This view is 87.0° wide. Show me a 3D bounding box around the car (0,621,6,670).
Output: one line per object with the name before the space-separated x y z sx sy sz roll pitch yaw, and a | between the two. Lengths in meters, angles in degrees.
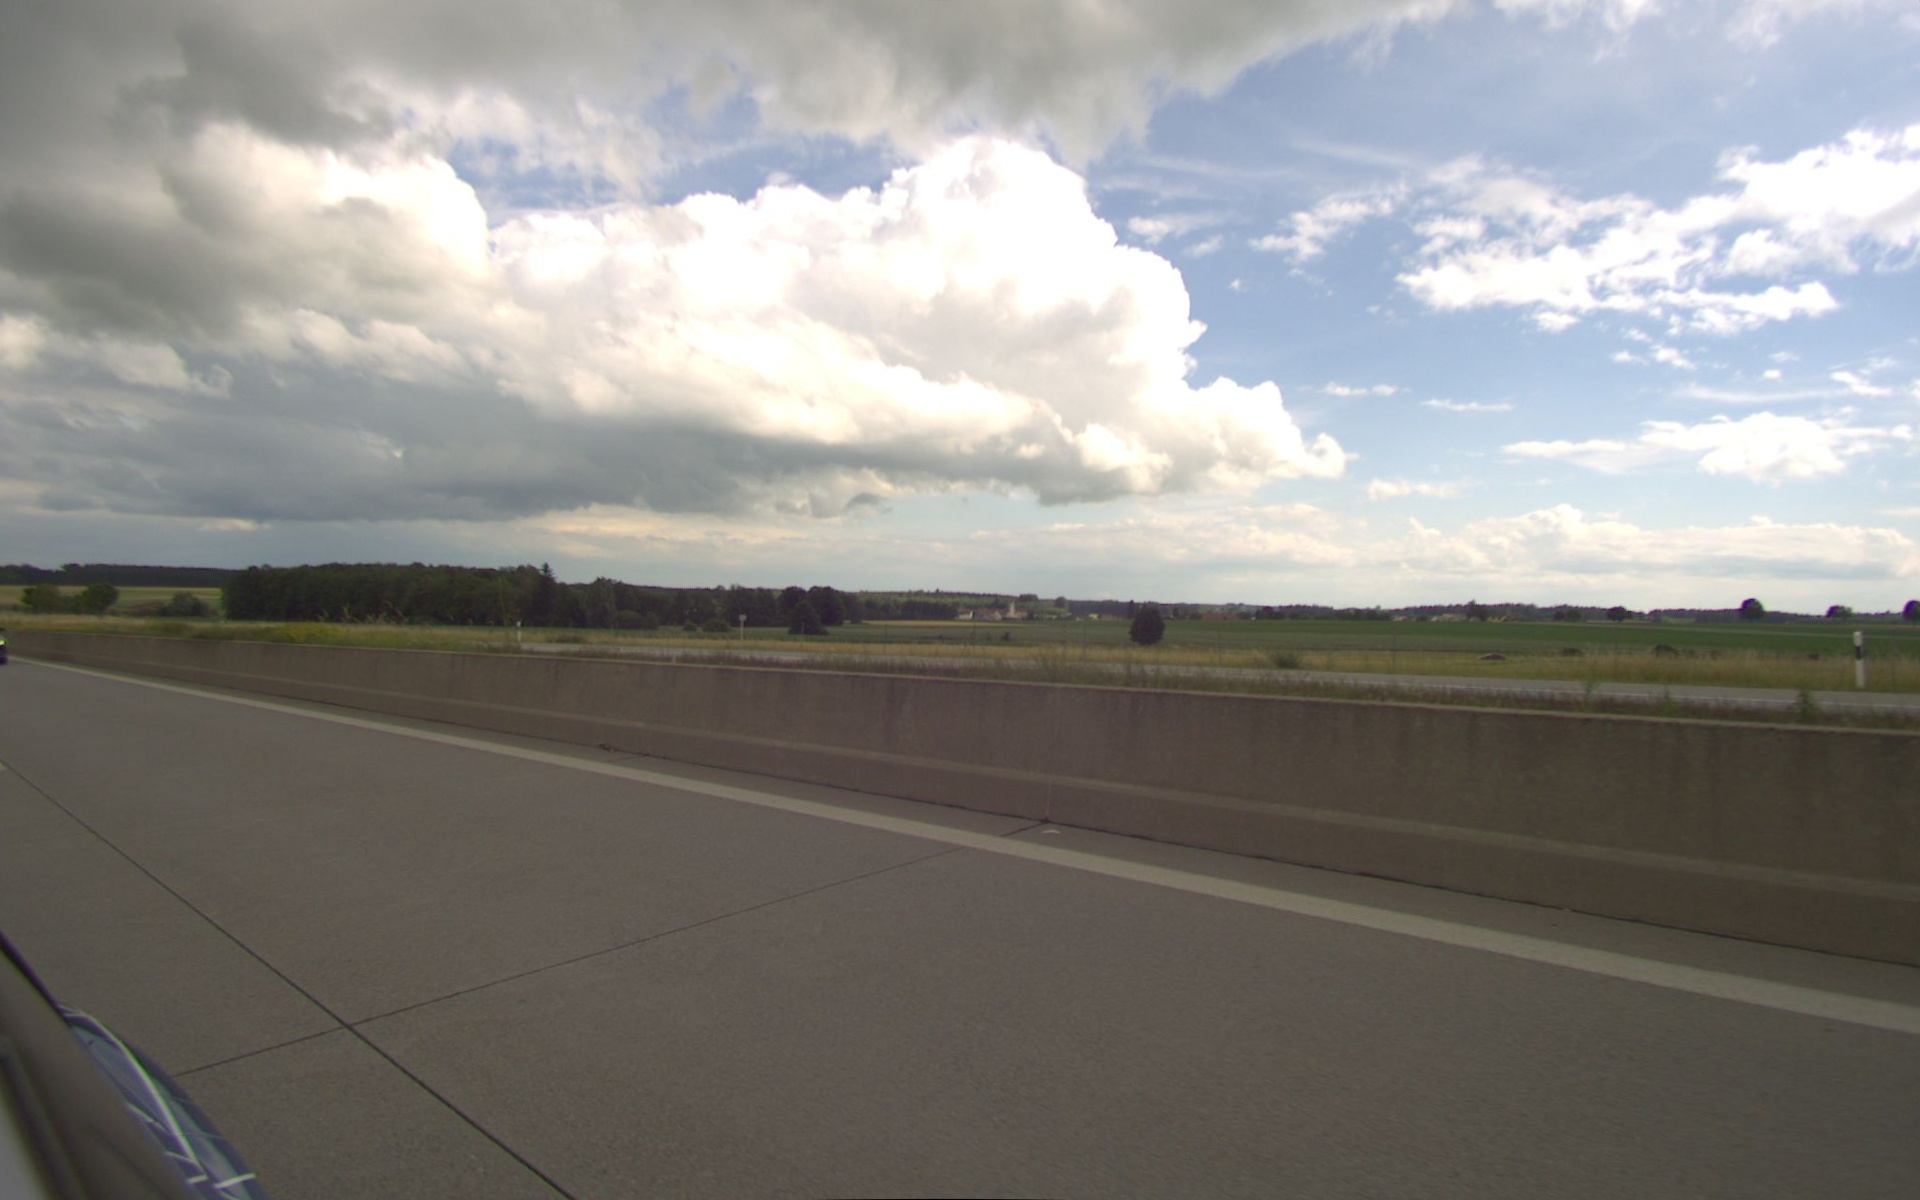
car | -30.674 1.392 30.905 3.999 1.484 1.914 -1 -1 42
